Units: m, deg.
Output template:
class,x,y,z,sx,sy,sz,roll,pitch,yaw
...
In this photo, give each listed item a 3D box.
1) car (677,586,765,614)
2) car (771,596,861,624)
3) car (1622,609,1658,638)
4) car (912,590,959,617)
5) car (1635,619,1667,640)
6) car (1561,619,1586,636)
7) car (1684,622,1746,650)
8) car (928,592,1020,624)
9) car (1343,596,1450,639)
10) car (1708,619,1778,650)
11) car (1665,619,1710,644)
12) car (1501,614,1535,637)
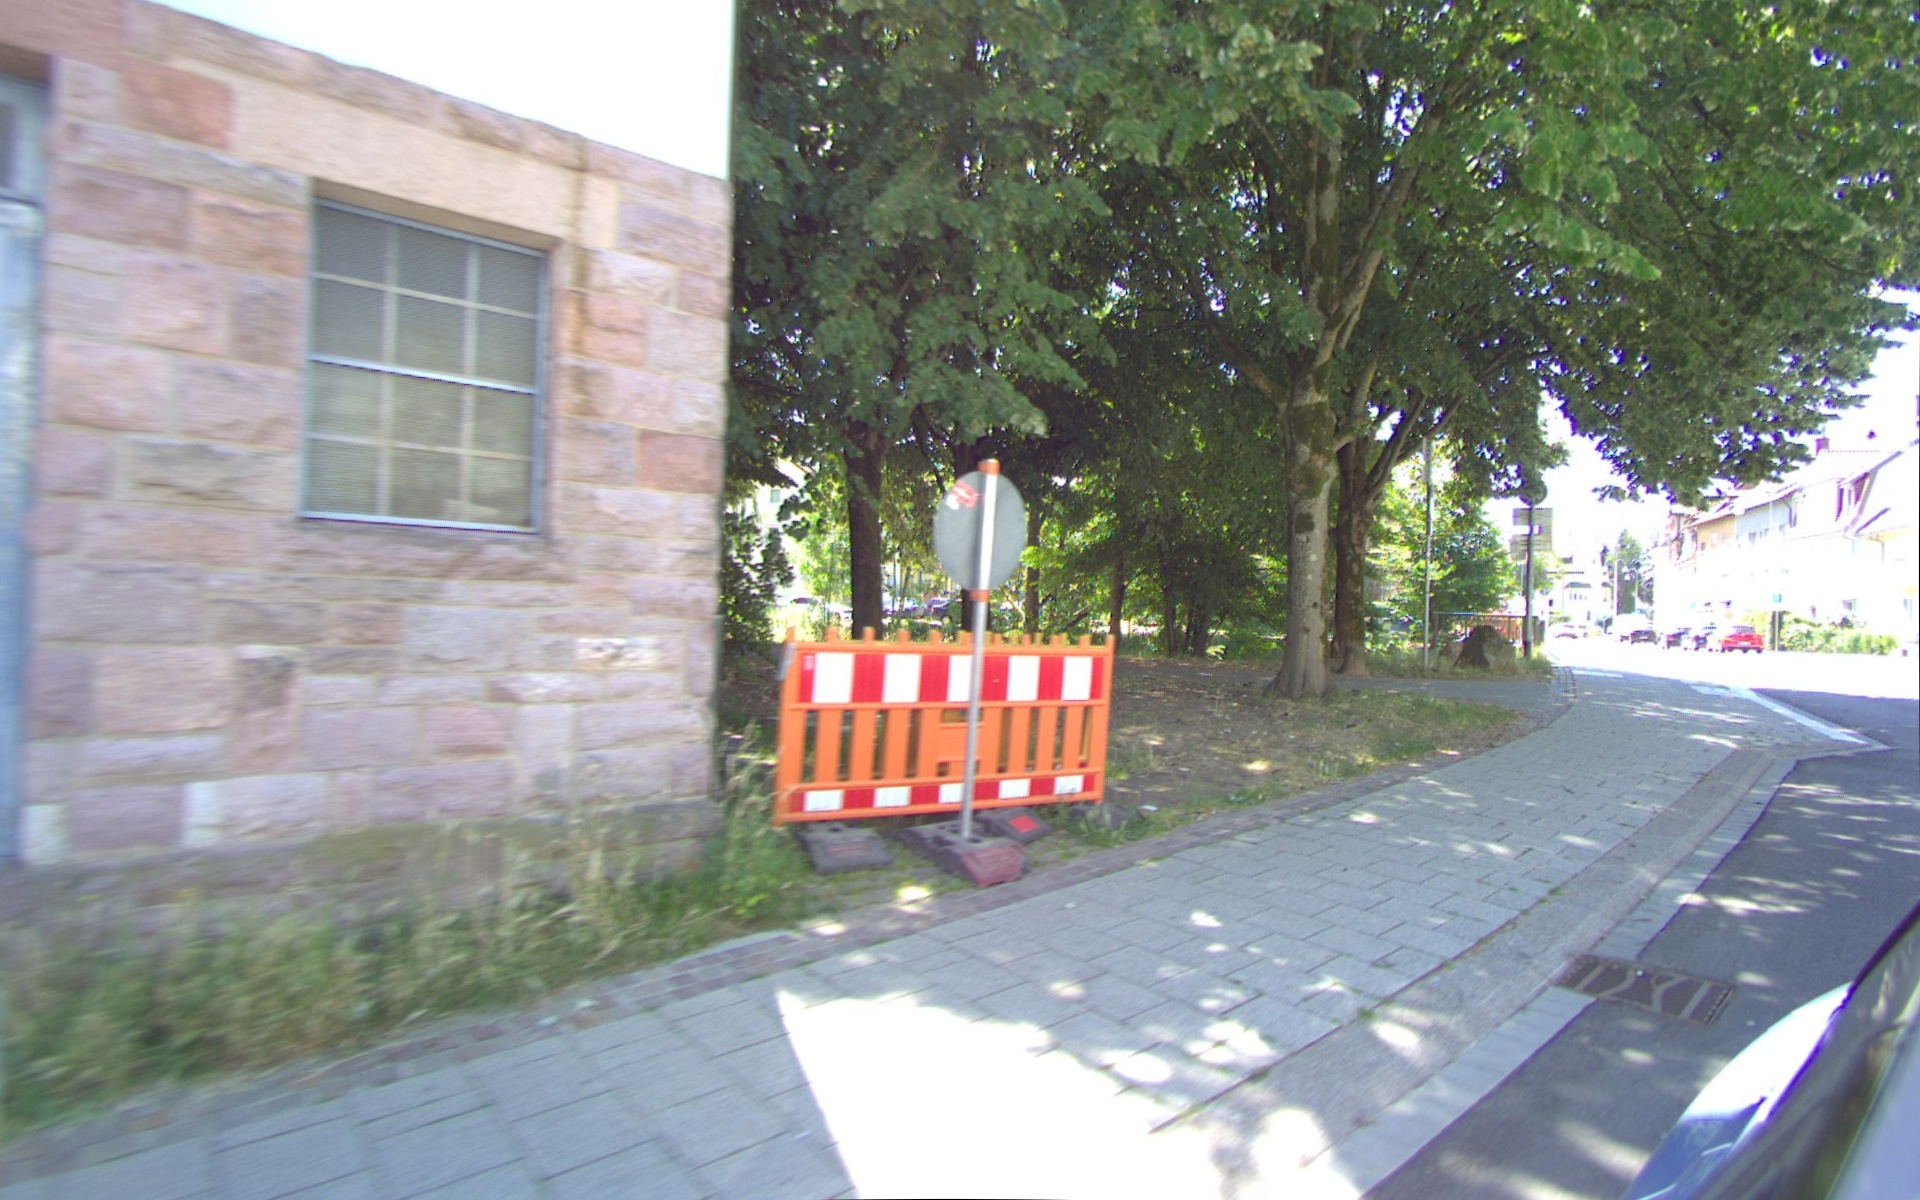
class,x,y,z,sx,sy,sz,roll,pitch,yaw
car,-13.456,0.011,56.948,4.454,1.549,1.988,0,-1,19
car,-7.803,0.540,54.994,4.454,1.399,1.897,1,0,19
car,61.087,2.090,90.991,2.107,2.481,6.053,0,-1,29
car,-1.524,0.234,64.588,1.972,1.583,3.980,2,0,15
car,55.614,2.380,81.393,2.078,1.635,5.043,0,-2,35
car,64.578,2.902,106.557,1.867,1.617,4.316,3,0,28
car,43.183,2.055,58.001,1.850,1.480,5.258,0,-2,25
car,0.722,0.407,52.604,4.455,1.440,1.750,2,2,19
car,19.860,0.761,46.218,4.295,1.862,1.739,0,0,19
car,40.705,1.779,52.723,1.864,1.499,4.694,-1,-2,26
car,45.557,1.993,63.460,1.778,1.478,4.152,-1,-2,30
car,42.248,1.927,76.675,1.821,1.523,5.018,4,1,25
